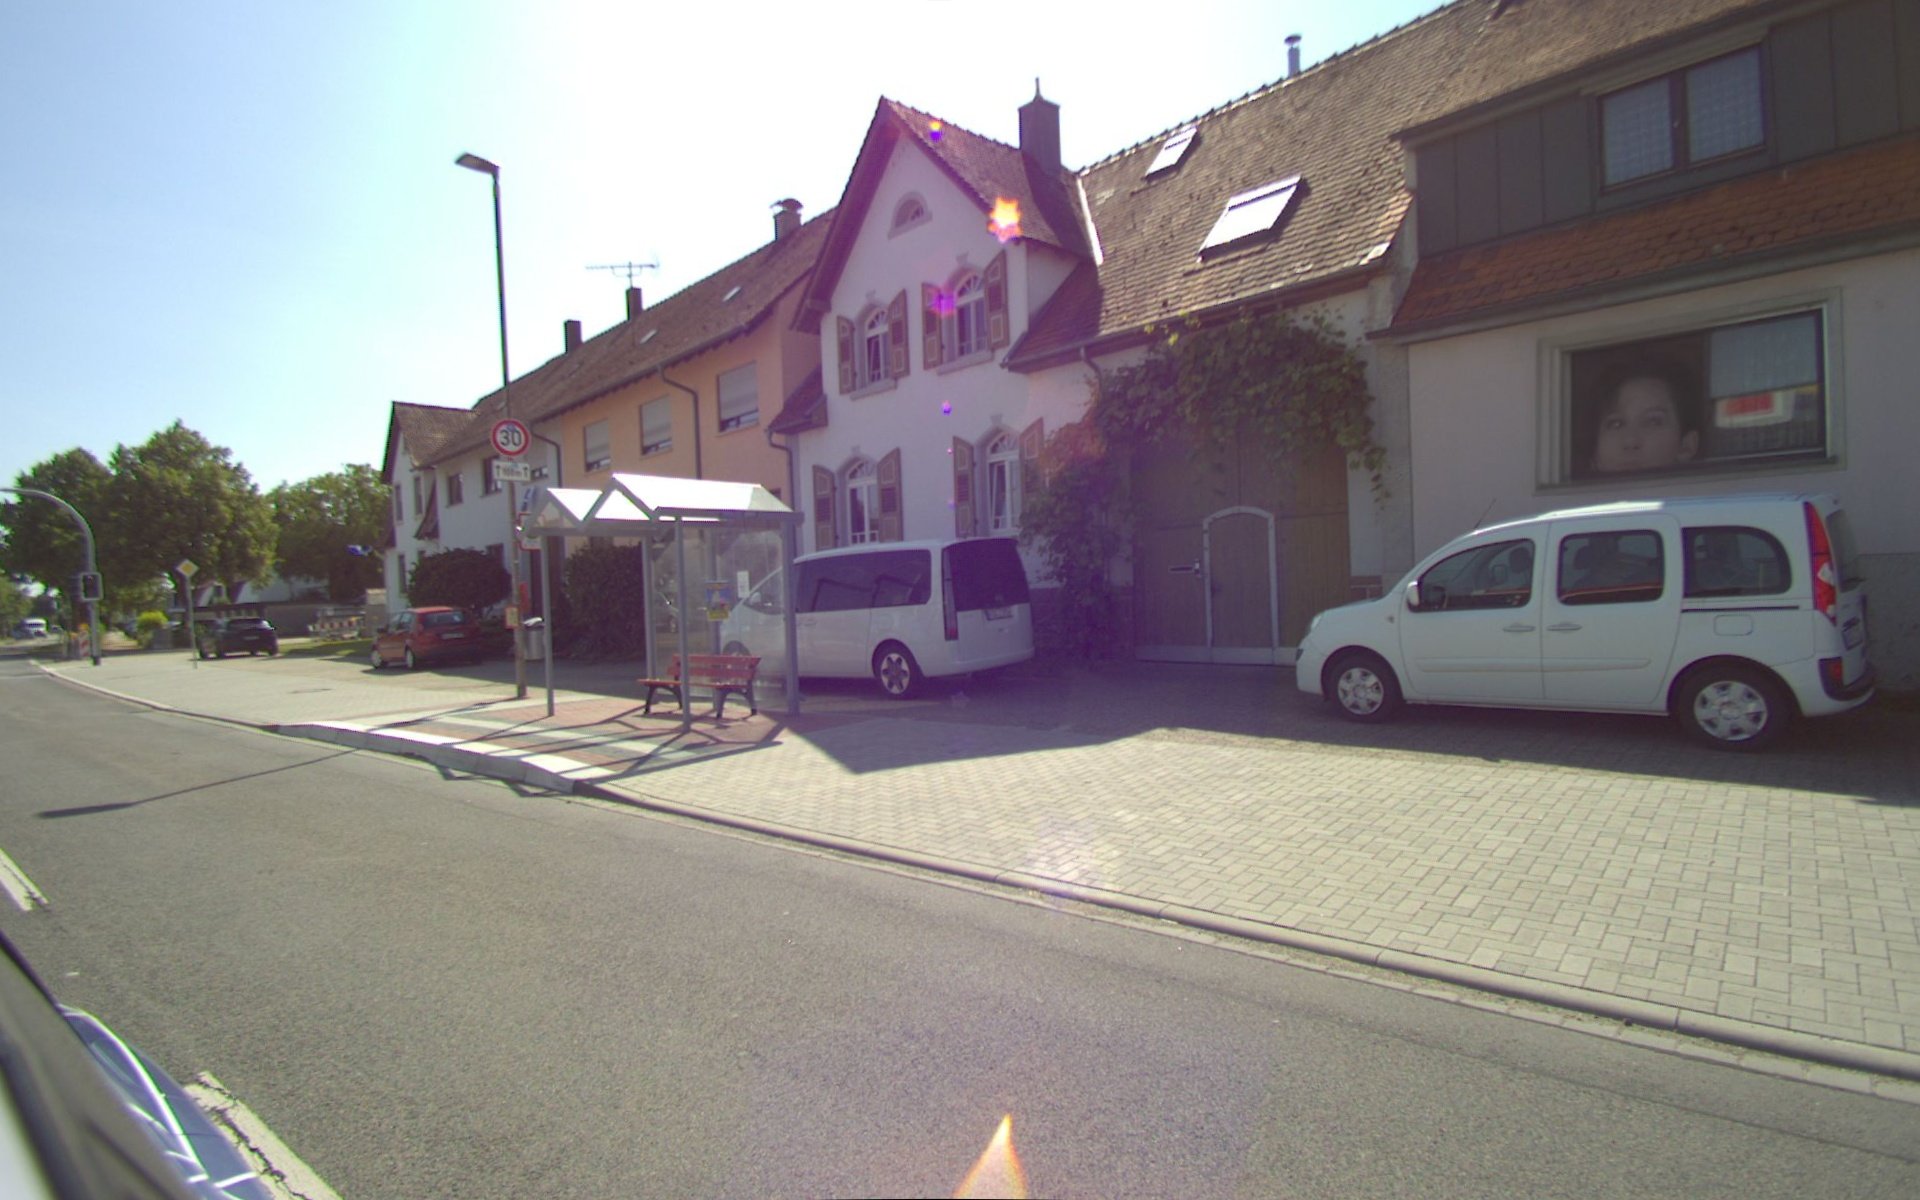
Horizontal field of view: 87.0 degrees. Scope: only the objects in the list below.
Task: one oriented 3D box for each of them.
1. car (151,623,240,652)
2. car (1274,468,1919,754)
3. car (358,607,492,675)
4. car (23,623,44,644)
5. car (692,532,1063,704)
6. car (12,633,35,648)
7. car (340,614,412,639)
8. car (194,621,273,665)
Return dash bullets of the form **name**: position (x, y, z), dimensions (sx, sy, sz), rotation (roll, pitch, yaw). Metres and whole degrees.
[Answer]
- **car**: position (-47.345, 2.306, 62.745), dimensions (3.933, 1.516, 2.005), rotation (-2, 0, -13)
- **car**: position (5.122, 0.053, 8.553), dimensions (1.945, 1.787, 4.281), rotation (-3, 2, -43)
- **car**: position (-13.231, 1.016, 24.938), dimensions (3.915, 1.464, 1.696), rotation (-3, 0, 43)
- **car**: position (-120.076, 4.323, 131.160), dimensions (1.910, 2.521, 5.845), rotation (-2, 0, -42)
- **car**: position (-1.334, 0.207, 14.303), dimensions (5.262, 2.001, 2.104), rotation (-1, 1, 41)
- **car**: position (-111.044, 4.803, 120.028), dimensions (1.819, 1.604, 4.111), rotation (-2, 0, -42)
- **car**: position (-40.365, 1.842, 69.993), dimensions (2.000, 1.516, 3.943), rotation (-2, 0, 43)
- **car**: position (-26.708, 1.521, 37.153), dimensions (1.695, 1.418, 4.401), rotation (-1, 0, -45)
